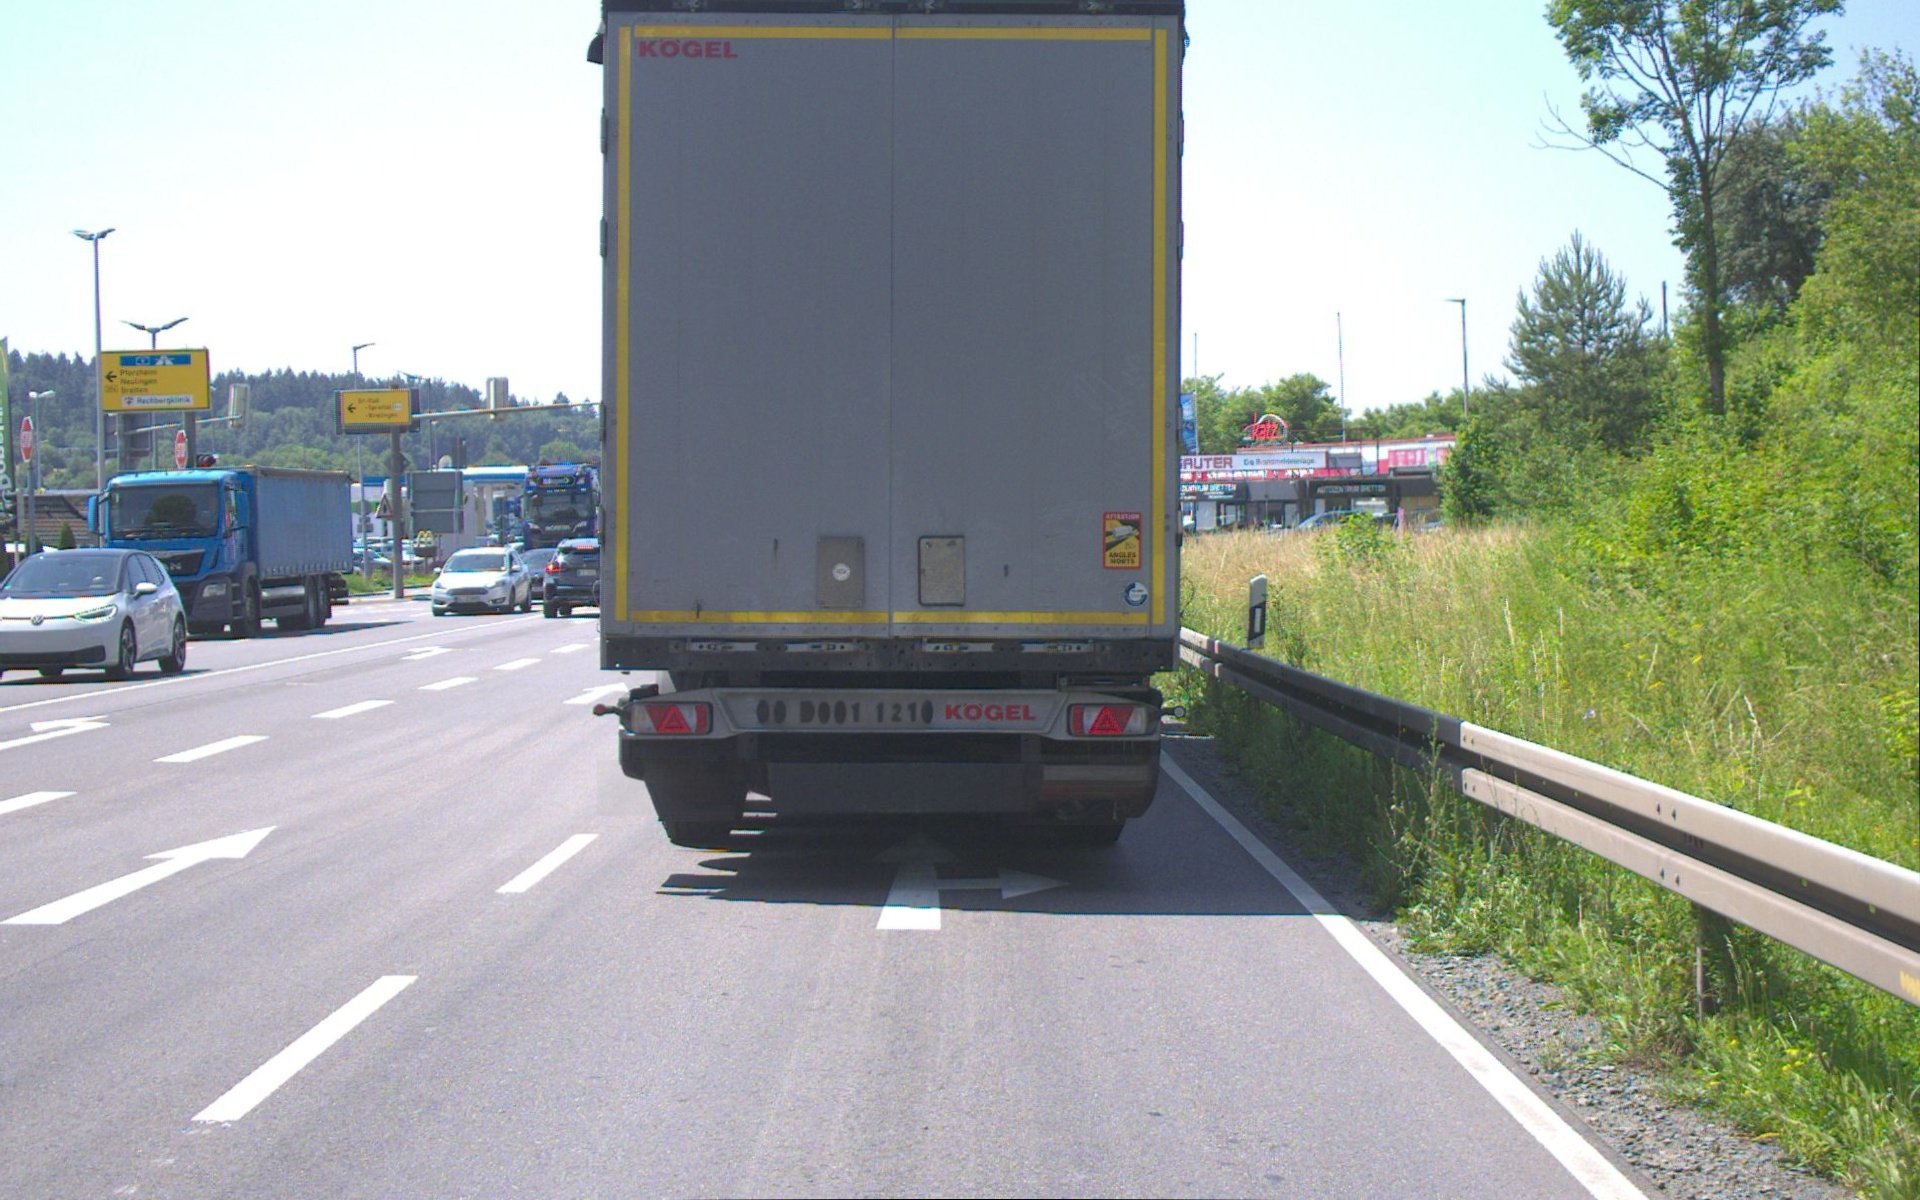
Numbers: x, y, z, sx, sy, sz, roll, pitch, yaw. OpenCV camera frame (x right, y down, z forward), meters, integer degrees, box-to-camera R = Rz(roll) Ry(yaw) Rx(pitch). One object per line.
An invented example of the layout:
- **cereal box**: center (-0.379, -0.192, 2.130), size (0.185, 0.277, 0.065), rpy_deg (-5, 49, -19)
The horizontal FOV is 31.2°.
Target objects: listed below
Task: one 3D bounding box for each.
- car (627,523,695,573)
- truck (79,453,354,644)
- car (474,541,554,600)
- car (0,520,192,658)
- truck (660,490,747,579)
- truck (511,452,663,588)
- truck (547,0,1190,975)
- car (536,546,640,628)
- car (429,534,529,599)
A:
- **car**: center (-9.640, -1.663, 111.078), size (1.740, 1.498, 4.406), rpy_deg (-2, 0, 1)
- **truck**: center (-14.181, -0.978, 66.639), size (2.846, 3.340, 11.482), rpy_deg (-1, 1, 0)
- **car**: center (-11.362, -0.747, 87.720), size (1.662, 1.399, 4.017), rpy_deg (0, -1, -2)
- **car**: center (-10.538, -0.175, 41.421), size (1.792, 1.517, 4.187), rpy_deg (-2, 2, -3)
- **truck**: center (-11.935, -3.029, 161.246), size (2.934, 3.936, 14.238), rpy_deg (-1, 1, 0)
- **truck**: center (-12.810, -2.712, 119.740), size (3.146, 4.334, 17.542), rpy_deg (-1, 1, 1)
- **truck**: center (-0.502, -0.697, 23.165), size (2.755, 4.623, 16.655), rpy_deg (0, 0, -1)
- **car**: center (-7.718, -0.289, 71.717), size (1.793, 1.621, 4.370), rpy_deg (-1, 1, -2)
- **car**: center (-10.836, -0.774, 77.653), size (1.789, 1.422, 4.264), rpy_deg (0, 1, -2)
